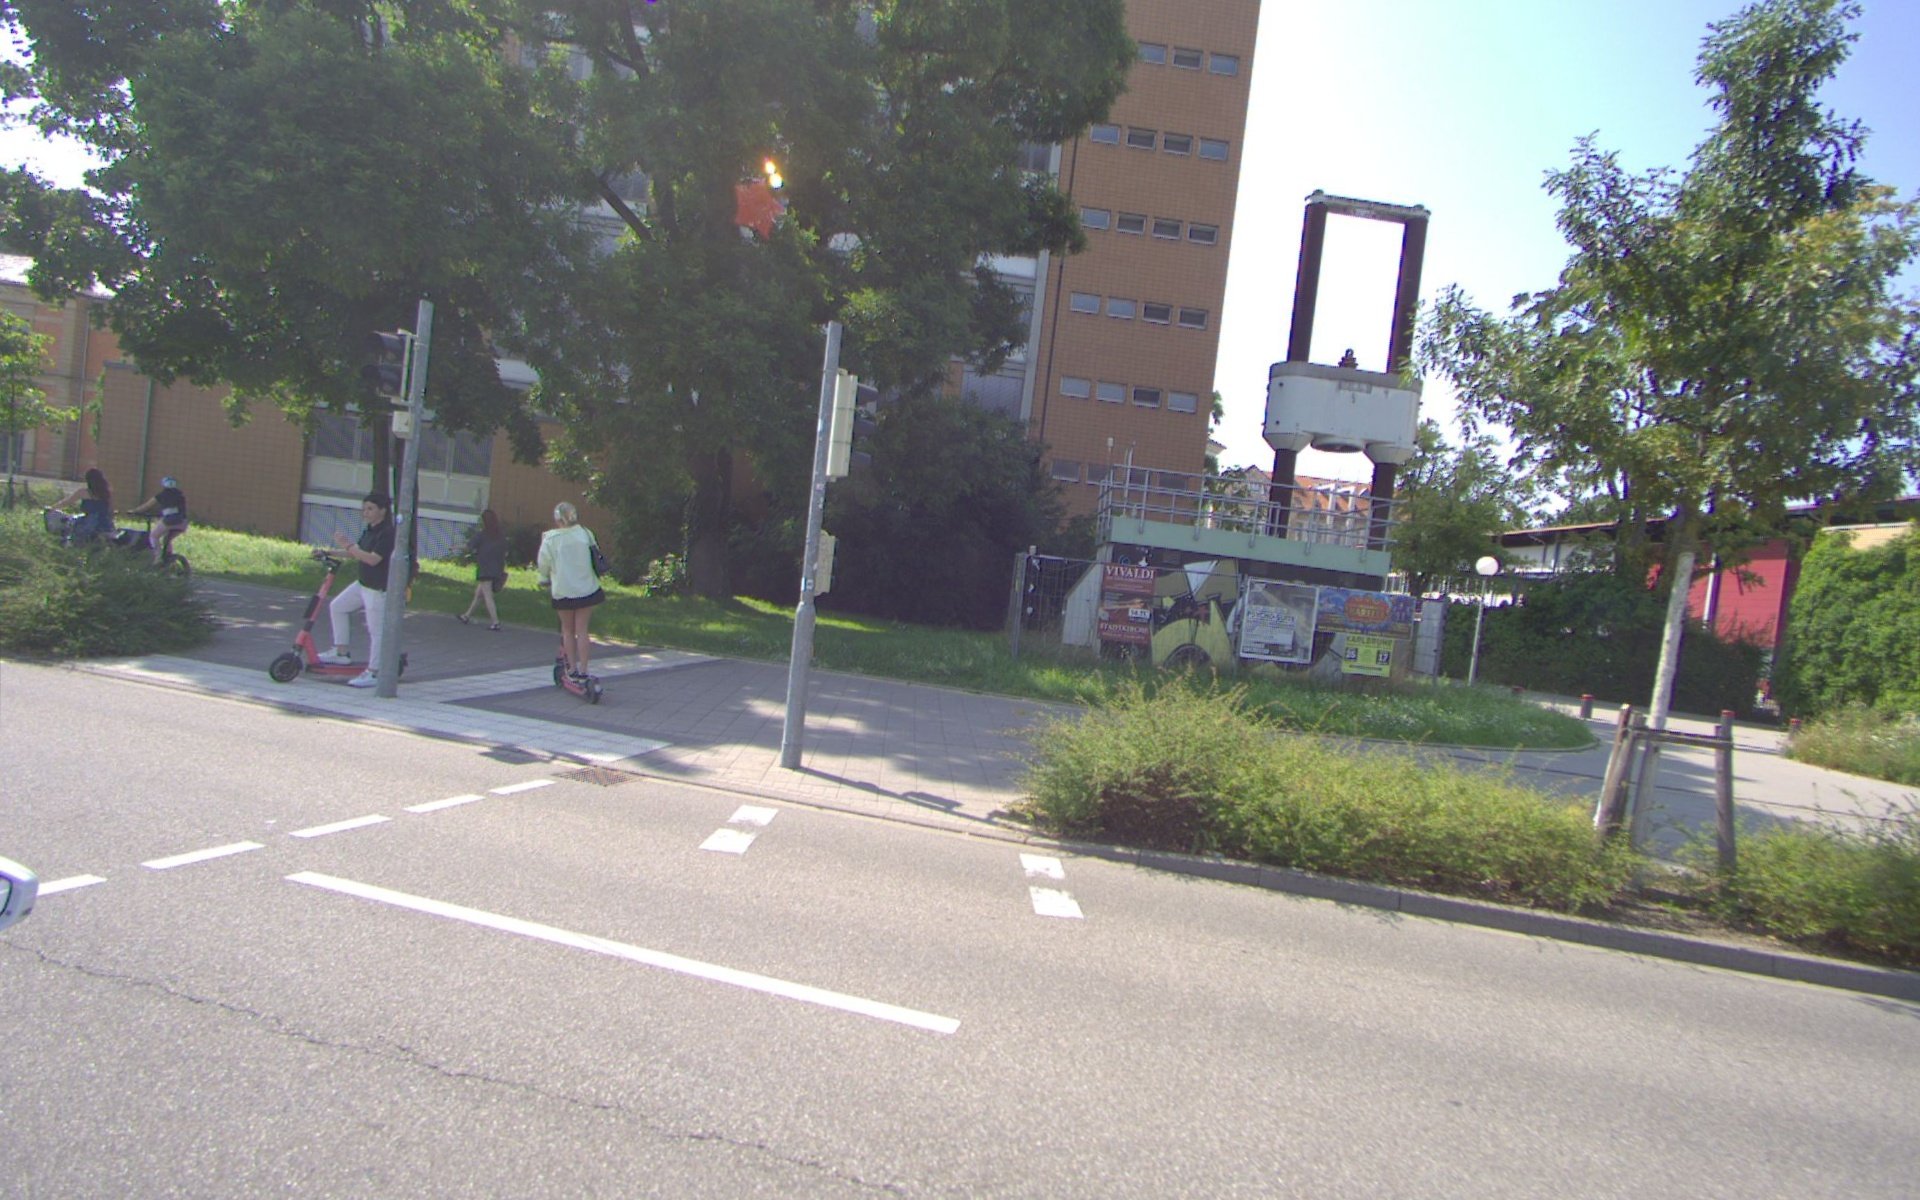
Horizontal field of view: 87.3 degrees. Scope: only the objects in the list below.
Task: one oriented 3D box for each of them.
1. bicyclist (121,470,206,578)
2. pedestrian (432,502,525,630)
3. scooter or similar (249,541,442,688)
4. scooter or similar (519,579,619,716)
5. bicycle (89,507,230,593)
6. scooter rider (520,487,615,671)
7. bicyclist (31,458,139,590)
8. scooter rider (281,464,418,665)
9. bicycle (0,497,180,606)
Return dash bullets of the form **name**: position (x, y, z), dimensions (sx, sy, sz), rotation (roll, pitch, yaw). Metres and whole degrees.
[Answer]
- **bicyclist**: position (-12.083, -1.146, 15.265), dimensions (0.788, 1.515, 0.550), rotation (7, 2, 15)
- **pedestrian**: position (-7.001, -0.492, 14.651), dimensions (0.862, 1.728, 0.707), rotation (7, 4, 15)
- **scooter or similar**: position (-5.729, 0.154, 9.431), dimensions (0.577, 1.251, 1.361), rotation (8, 3, 38)
- **scooter or similar**: position (-3.889, 0.419, 9.910), dimensions (0.551, 1.075, 1.986), rotation (2, 5, -31)
- **bicycle**: position (-12.164, -0.755, 15.281), dimensions (1.966, 1.074, 0.558), rotation (7, 2, 15)
- **scooter rider**: position (-3.890, -0.206, 9.944), dimensions (0.665, 1.723, 0.534), rotation (4, 5, -31)
- **bicyclist**: position (-11.521, -0.990, 13.253), dimensions (0.828, 1.621, 0.692), rotation (7, 4, 16)
- **scooter rider**: position (-5.667, -0.317, 9.340), dimensions (0.678, 1.762, 0.801), rotation (8, 3, 39)
- **bicycle**: position (-11.541, -0.639, 13.275), dimensions (2.326, 1.171, 0.695), rotation (7, 3, 16)
